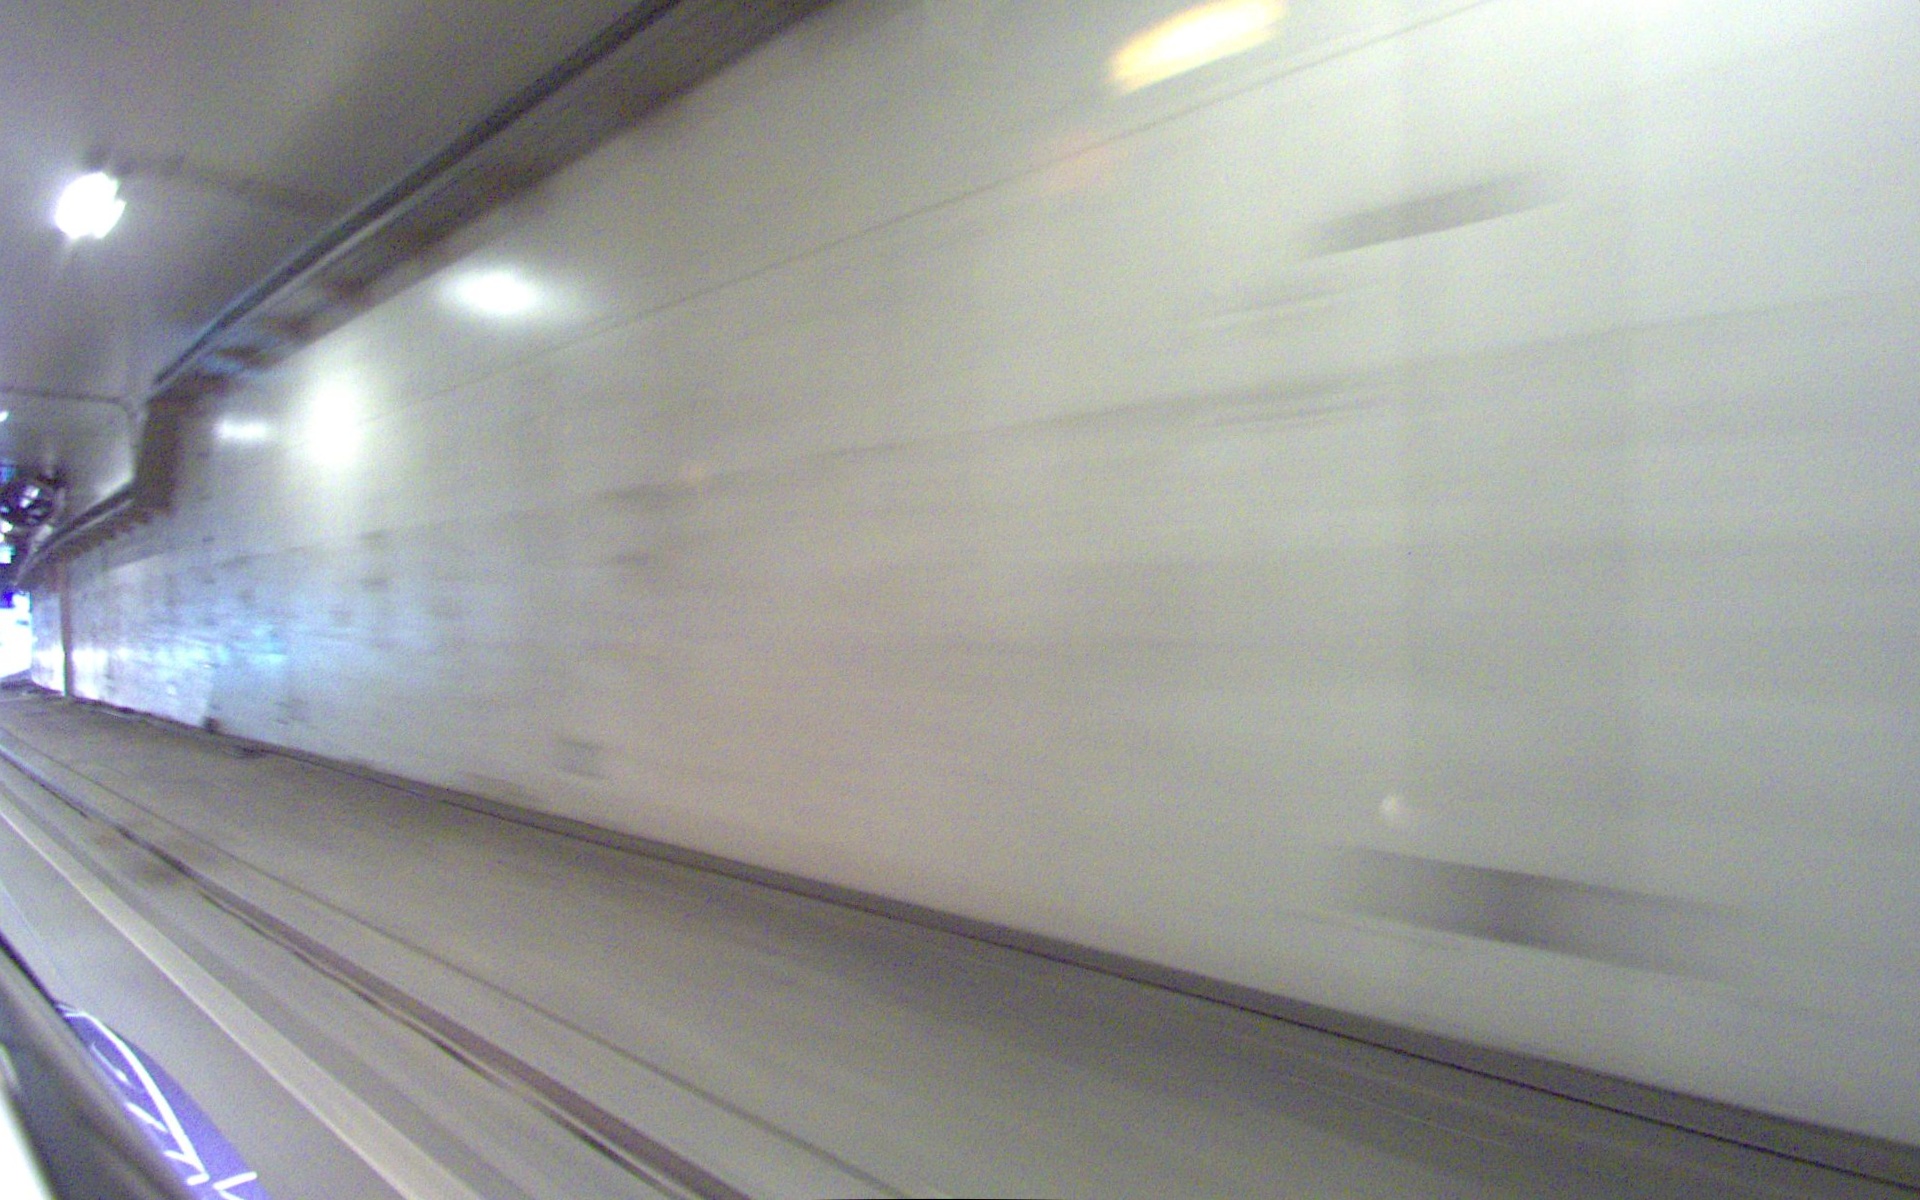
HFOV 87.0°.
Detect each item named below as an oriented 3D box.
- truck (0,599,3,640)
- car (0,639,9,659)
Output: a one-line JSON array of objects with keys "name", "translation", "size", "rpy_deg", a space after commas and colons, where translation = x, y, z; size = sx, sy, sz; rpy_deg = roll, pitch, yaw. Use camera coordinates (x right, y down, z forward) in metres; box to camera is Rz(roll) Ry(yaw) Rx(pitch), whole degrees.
[{"name": "truck", "translation": [-106.982, 2.398, 110.265], "size": [2.843, 4.504, 10.475], "rpy_deg": [-4, 4, -38]}, {"name": "car", "translation": [-91.124, 4.645, 95.177], "size": [1.920, 1.545, 4.009], "rpy_deg": [-4, 5, -37]}]
